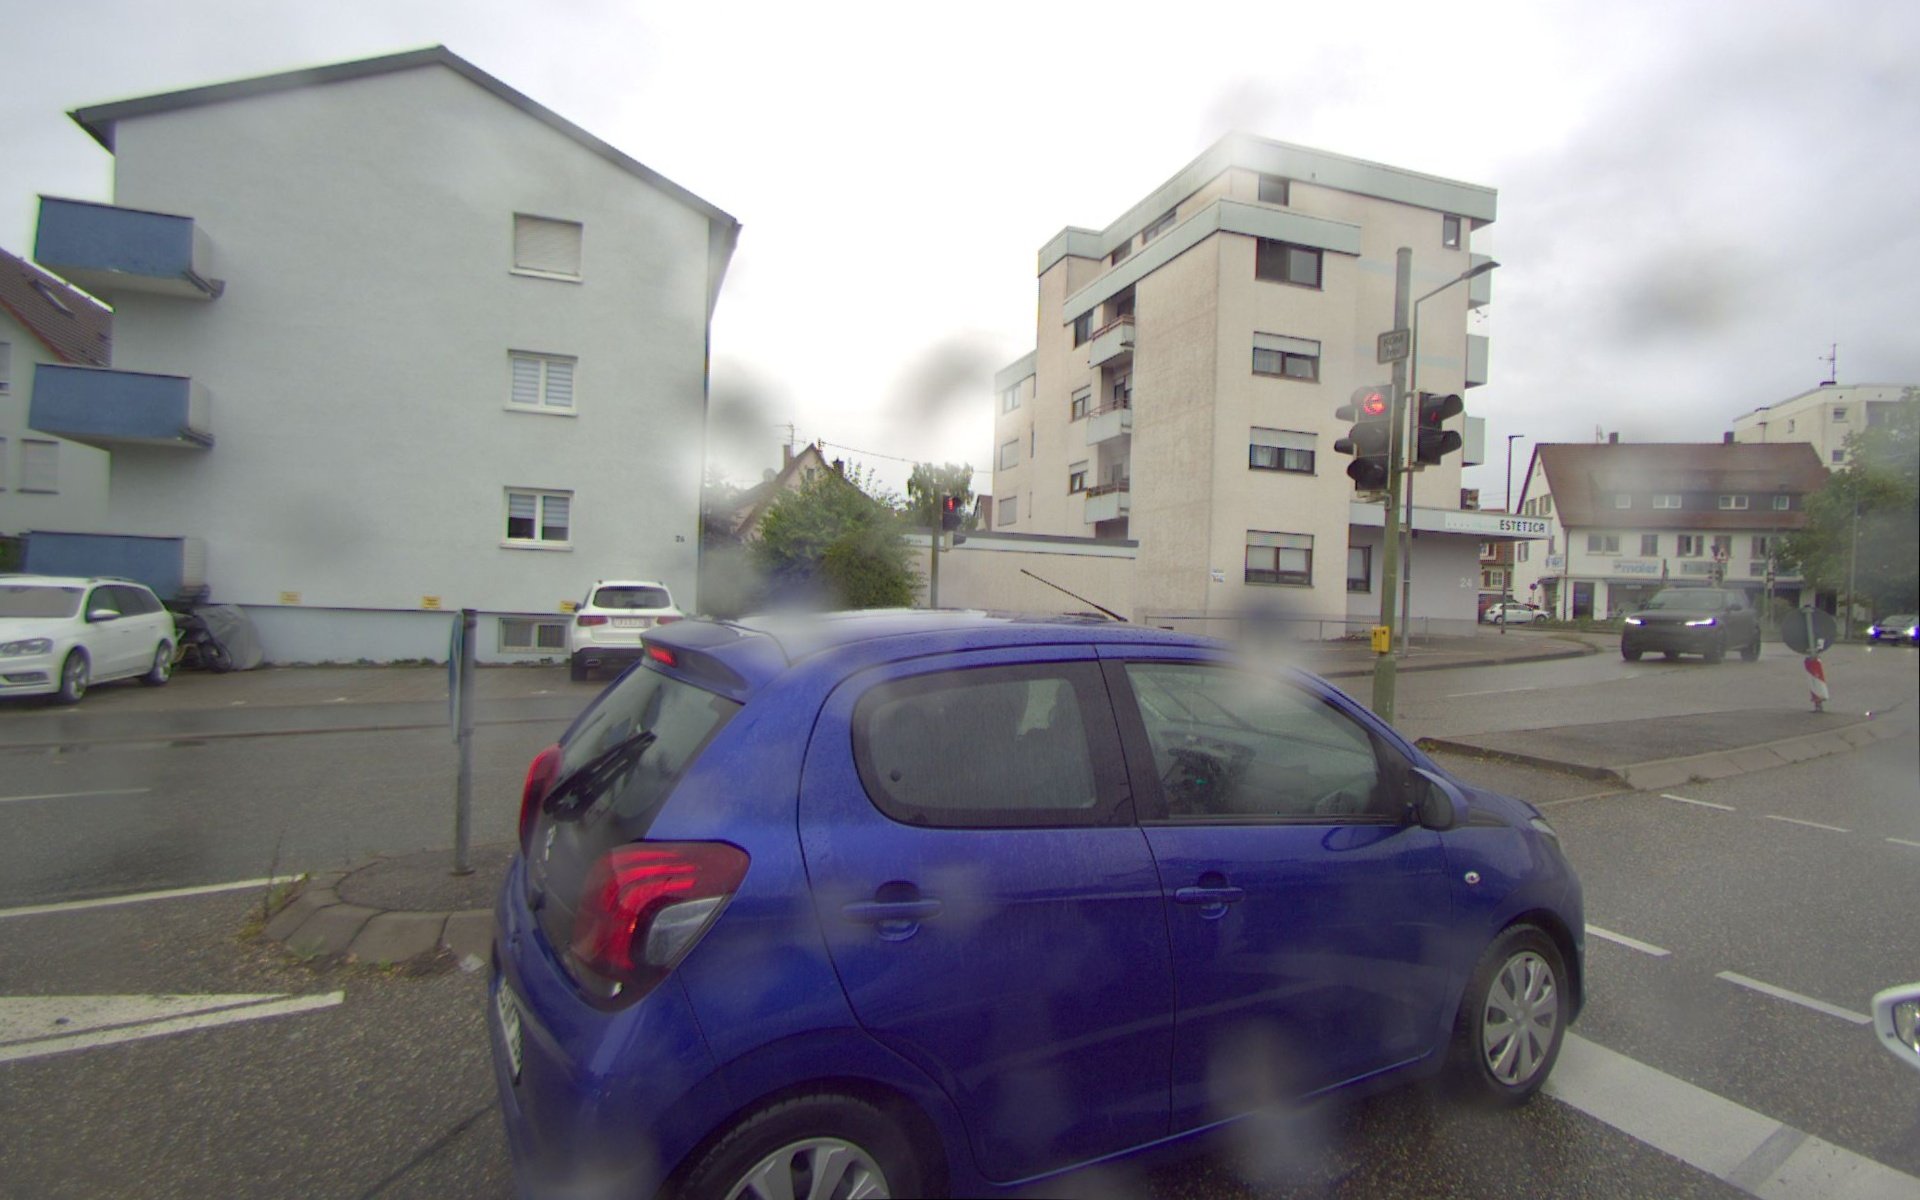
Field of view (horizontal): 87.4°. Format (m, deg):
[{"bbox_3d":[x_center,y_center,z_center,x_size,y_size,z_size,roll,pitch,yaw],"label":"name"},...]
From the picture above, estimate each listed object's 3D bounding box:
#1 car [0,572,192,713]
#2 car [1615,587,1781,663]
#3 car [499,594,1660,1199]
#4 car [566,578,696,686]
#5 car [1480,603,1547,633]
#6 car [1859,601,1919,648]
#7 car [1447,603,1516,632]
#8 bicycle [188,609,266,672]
[{"bbox_3d":[-11.476,0.454,12.499,1.854,1.480,4.732,1,-1,-23],"label":"car"},{"bbox_3d":[18.892,0.644,25.645,5.132,1.760,1.979,2,0,-37],"label":"car"},{"bbox_3d":[0.475,0.732,3.095,3.324,1.432,1.498,1,1,-30],"label":"car"},{"bbox_3d":[-5.758,0.507,17.569,1.884,1.637,3.982,2,0,-19],"label":"car"},{"bbox_3d":[37.923,1.229,68.892,3.611,1.946,1.889,2,0,14],"label":"car"},{"bbox_3d":[41.380,1.088,44.091,3.960,1.929,1.981,2,0,-35],"label":"car"},{"bbox_3d":[37.215,1.234,71.723,3.987,1.868,1.889,2,0,14],"label":"car"},{"bbox_3d":[-12.689,0.686,17.414,1.053,1.067,0.345,0,1,-30],"label":"bicycle"}]
